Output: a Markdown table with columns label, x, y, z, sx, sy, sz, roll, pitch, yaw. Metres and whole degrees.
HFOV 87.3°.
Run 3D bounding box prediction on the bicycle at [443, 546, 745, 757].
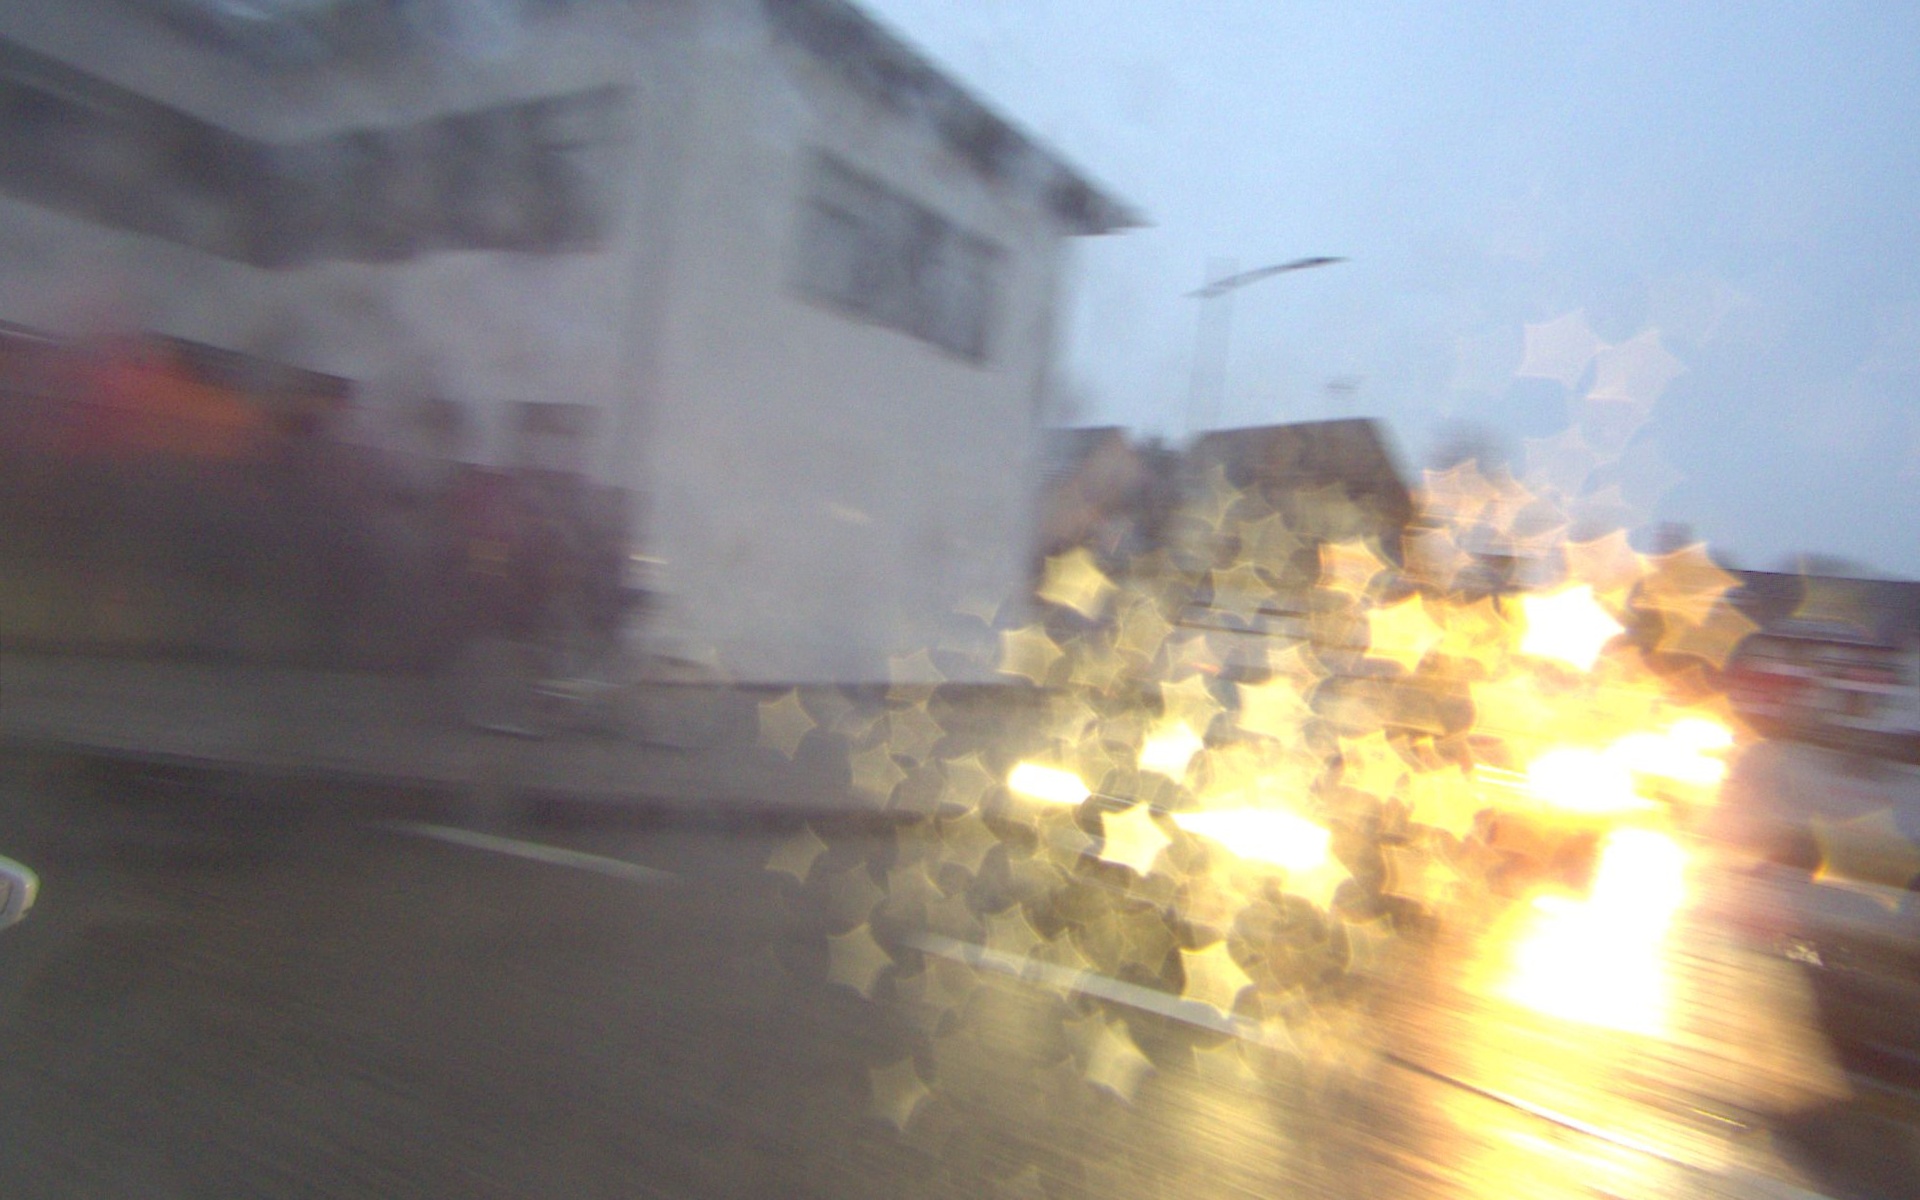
| label | x | y | z | sx | sy | sz | roll | pitch | yaw |
| --- | --- | --- | --- | --- | --- | --- | --- | --- | --- |
| bicycle | -2.681 | 0.396 | 7.503 | 1.915 | 1.313 | 0.548 | 7 | 3 | -21 |

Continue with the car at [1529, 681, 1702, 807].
| label | x | y | z | sx | sy | sz | roll | pitch | yaw |
| --- | --- | --- | --- | --- | --- | --- | --- | --- | --- |
| car | 10.598 | 2.215 | 16.123 | 1.673 | 1.526 | 4.238 | 7 | 0 | 40 |

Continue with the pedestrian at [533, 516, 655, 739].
| label | x | y | z | sx | sy | sz | roll | pitch | yaw |
| --- | --- | --- | --- | --- | --- | --- | --- | --- | --- |
| pedestrian | -2.799 | 0.202 | 7.734 | 0.682 | 1.585 | 0.607 | 7 | 3 | -19 |

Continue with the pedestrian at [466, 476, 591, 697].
| label | x | y | z | sx | sy | sz | roll | pitch | yaw |
| --- | --- | --- | --- | --- | --- | --- | --- | --- | --- |
| pedestrian | -3.890 | -0.119 | 9.061 | 0.711 | 1.856 | 0.630 | 6 | 4 | -37 |

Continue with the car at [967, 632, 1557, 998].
| label | x | y | z | sx | sy | sz | roll | pitch | yaw |
| --- | --- | --- | --- | --- | --- | --- | --- | --- | --- |
| car | 2.187 | 1.120 | 6.409 | 1.826 | 1.400 | 4.212 | 5 | -2 | 43 |

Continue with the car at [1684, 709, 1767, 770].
| label | x | y | z | sx | sy | sz | roll | pitch | yaw |
| --- | --- | --- | --- | --- | --- | --- | --- | --- | --- |
| car | 24.937 | 4.506 | 32.896 | 1.853 | 1.471 | 3.987 | 9 | 1 | 36 |

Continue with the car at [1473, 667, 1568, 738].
| label | x | y | z | sx | sy | sz | roll | pitch | yaw |
| --- | --- | --- | --- | --- | --- | --- | --- | --- | --- |
| car | 15.053 | 2.714 | 26.920 | 1.639 | 1.547 | 3.987 | 6 | 0 | 36 |

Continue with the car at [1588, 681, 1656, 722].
| label | x | y | z | sx | sy | sz | roll | pitch | yaw |
| --- | --- | --- | --- | --- | --- | --- | --- | --- | --- |
| car | 37.411 | 5.695 | 57.011 | 1.963 | 2.037 | 4.903 | 3 | -3 | 19 |

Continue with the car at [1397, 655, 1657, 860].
| label | x | y | z | sx | sy | sz | roll | pitch | yaw |
| --- | --- | --- | --- | --- | --- | --- | --- | --- | --- |
| car | 6.172 | 1.556 | 10.722 | 1.672 | 1.571 | 3.985 | 7 | -1 | 39 |

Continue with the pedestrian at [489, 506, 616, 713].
| label | x | y | z | sx | sy | sz | roll | pitch | yaw |
| --- | --- | --- | --- | --- | --- | --- | --- | --- | --- |
| pedestrian | -3.452 | 0.080 | 8.516 | 0.711 | 1.642 | 0.576 | 6 | 2 | -37 |
